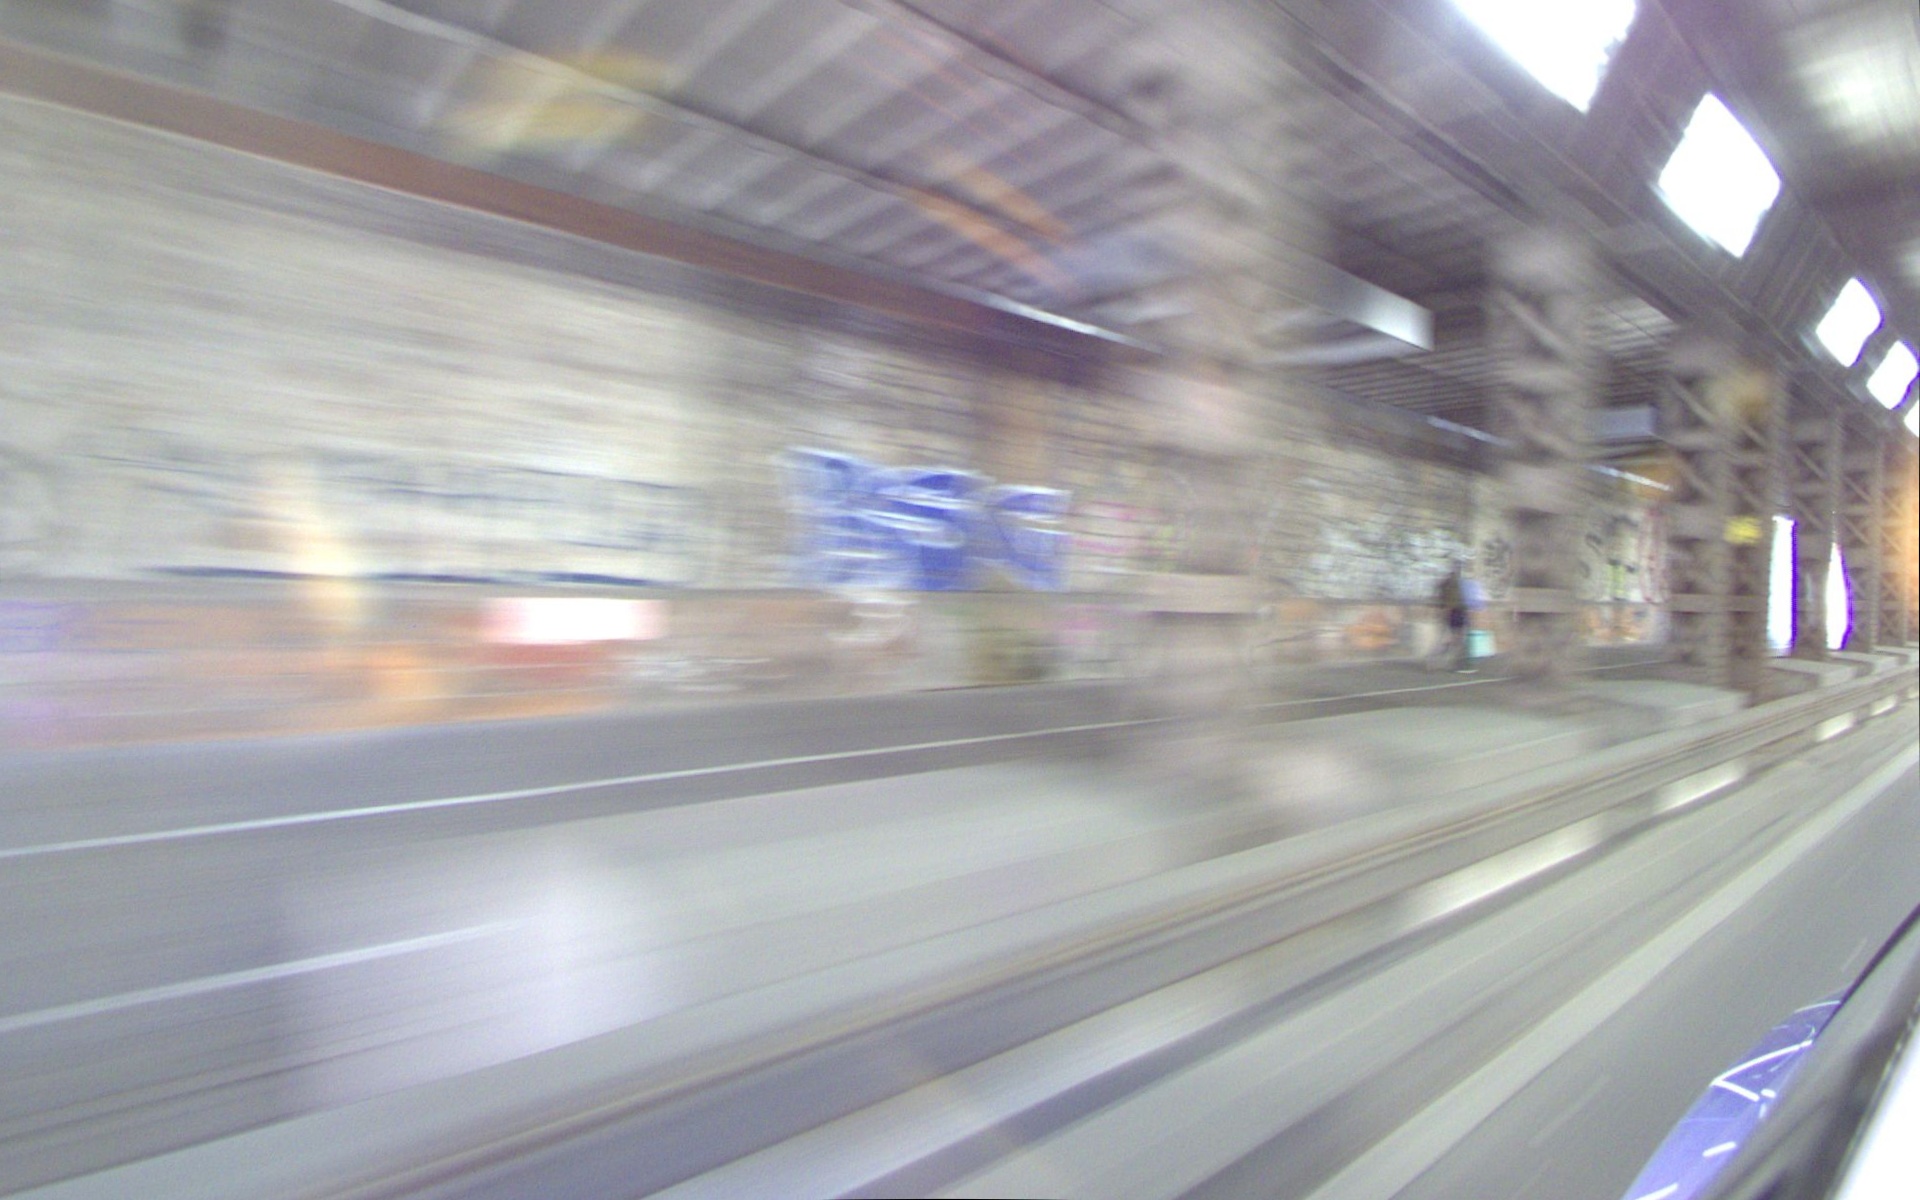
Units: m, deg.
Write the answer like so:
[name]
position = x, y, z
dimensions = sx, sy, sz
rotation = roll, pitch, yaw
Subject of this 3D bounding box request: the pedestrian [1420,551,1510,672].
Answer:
[pedestrian]
position = 7.572, 0.151, 15.179
dimensions = 1.092, 1.722, 0.801
rotation = 0, 2, -41
